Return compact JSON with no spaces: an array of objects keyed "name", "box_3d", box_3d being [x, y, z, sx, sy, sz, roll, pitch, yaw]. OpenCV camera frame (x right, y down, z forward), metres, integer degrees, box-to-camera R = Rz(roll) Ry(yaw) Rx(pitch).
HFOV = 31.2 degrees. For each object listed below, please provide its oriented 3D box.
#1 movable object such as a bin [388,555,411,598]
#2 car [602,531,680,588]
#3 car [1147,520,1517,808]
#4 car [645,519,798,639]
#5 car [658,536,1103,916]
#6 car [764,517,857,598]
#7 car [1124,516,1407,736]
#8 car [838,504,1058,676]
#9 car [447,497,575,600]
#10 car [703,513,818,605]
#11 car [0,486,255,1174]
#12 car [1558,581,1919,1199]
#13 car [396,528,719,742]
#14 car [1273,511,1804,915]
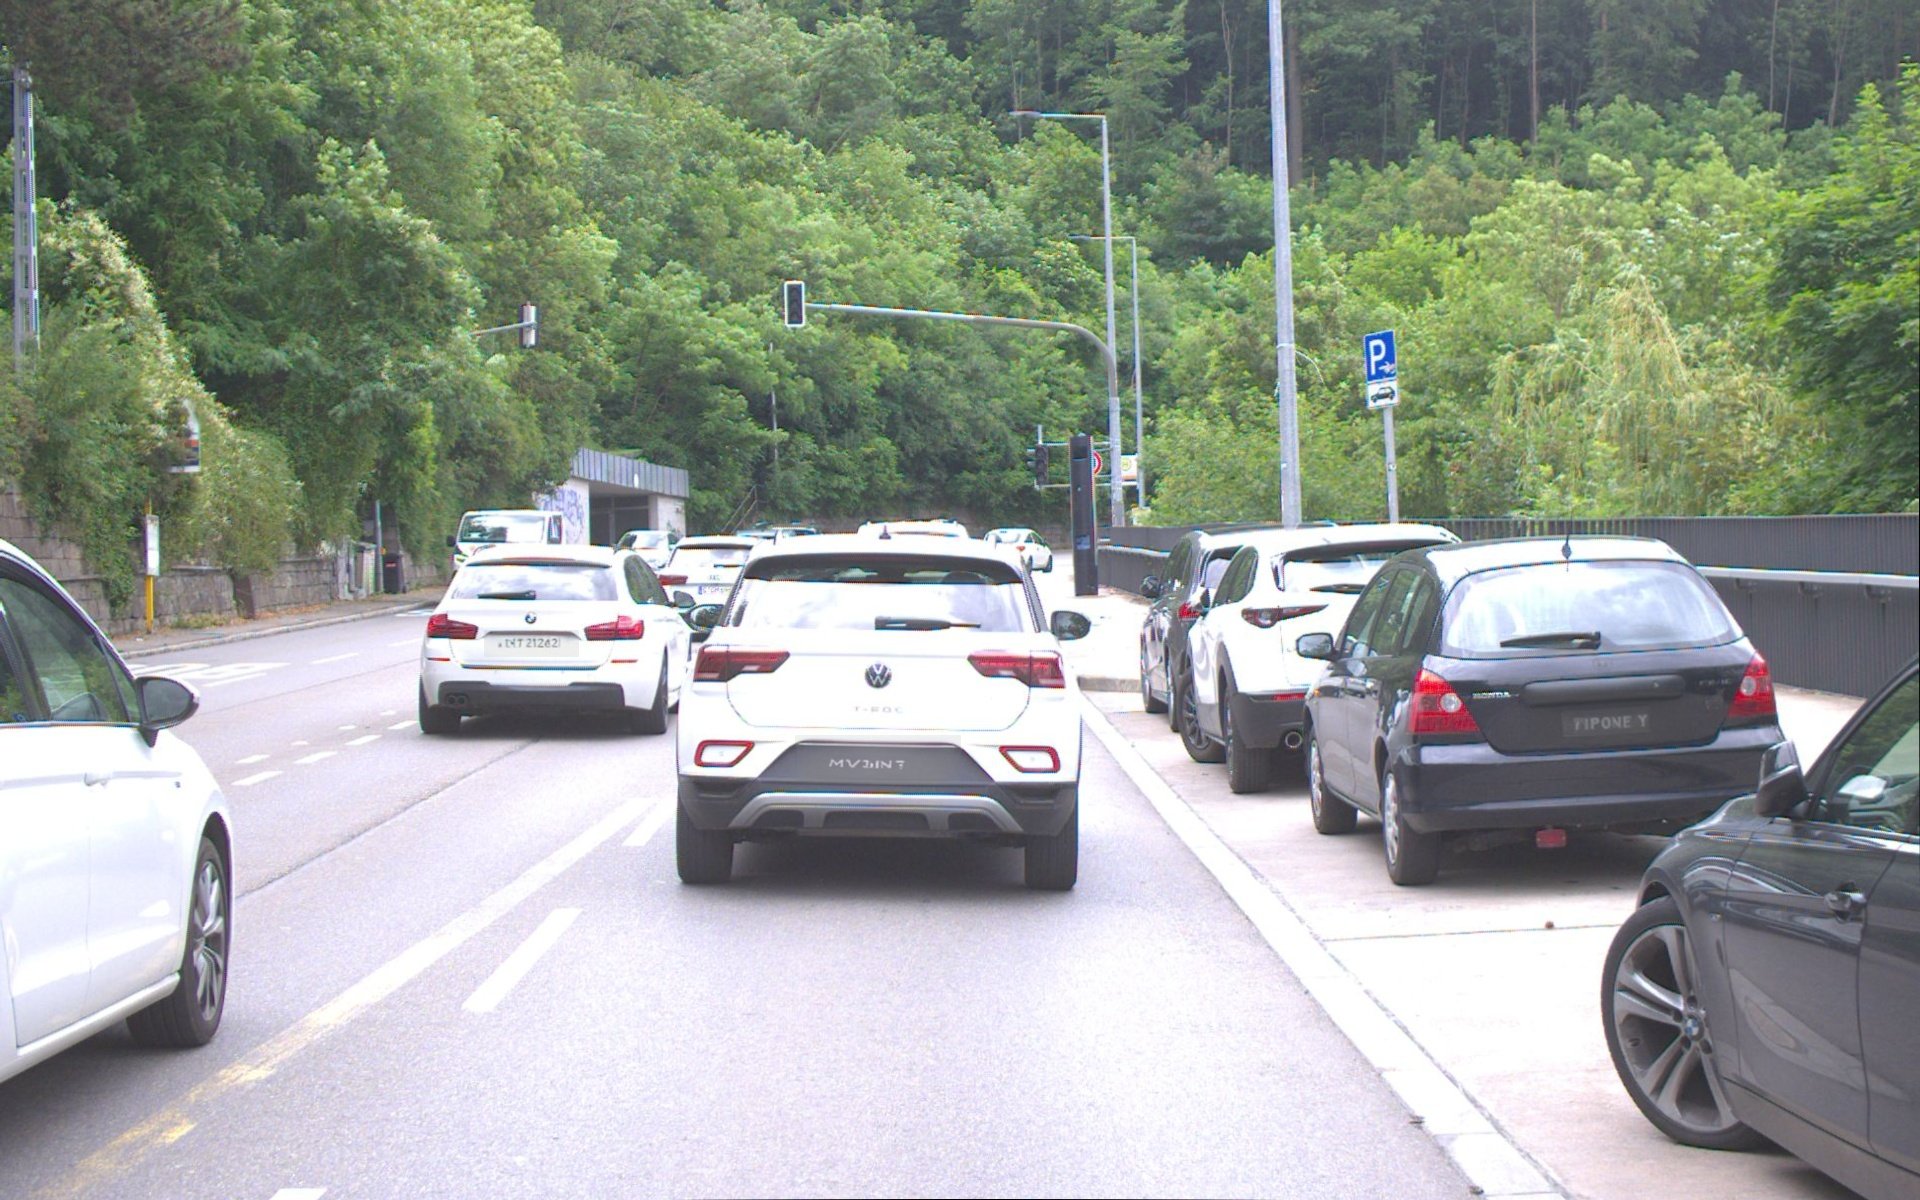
[{"name":"movable object such as a bin","box_3d":[-12.465,-0.526,76.488,0.427,0.947,0.479,1,1,-2]},{"name":"car","box_3d":[-8.980,-1.168,96.936,1.676,1.437,4.233,1,3,1]},{"name":"car","box_3d":[2.222,0.330,21.671,1.726,1.563,4.624,-2,1,-1]},{"name":"car","box_3d":[-3.343,-0.295,48.816,1.862,1.589,4.000,1,0,0]},{"name":"car","box_3d":[-0.395,0.497,16.251,1.813,1.534,4.009,-1,1,-2]},{"name":"car","box_3d":[-3.466,-1.002,80.278,1.993,1.858,4.000,0,1,0]},{"name":"car","box_3d":[2.384,0.152,27.873,1.757,1.538,4.427,-4,1,-1]},{"name":"car","box_3d":[-0.076,-0.131,39.578,1.994,1.837,4.149,1,1,7]},{"name":"car","box_3d":[-9.145,-1.067,70.449,1.921,1.998,5.356,0,1,0]},{"name":"car","box_3d":[-3.839,-0.804,66.657,1.993,1.735,4.000,0,1,0]},{"name":"car","box_3d":[-3.042,0.499,8.689,1.720,1.549,4.276,0,1,-1]},{"name":"car","box_3d":[2.583,0.687,6.921,1.823,1.396,4.320,-3,1,-2]},{"name":"car","box_3d":[-3.128,0.210,27.649,1.993,1.552,4.681,1,1,1]},{"name":"car","box_3d":[2.575,0.425,16.271,1.659,1.566,4.256,-3,1,-1]}]
